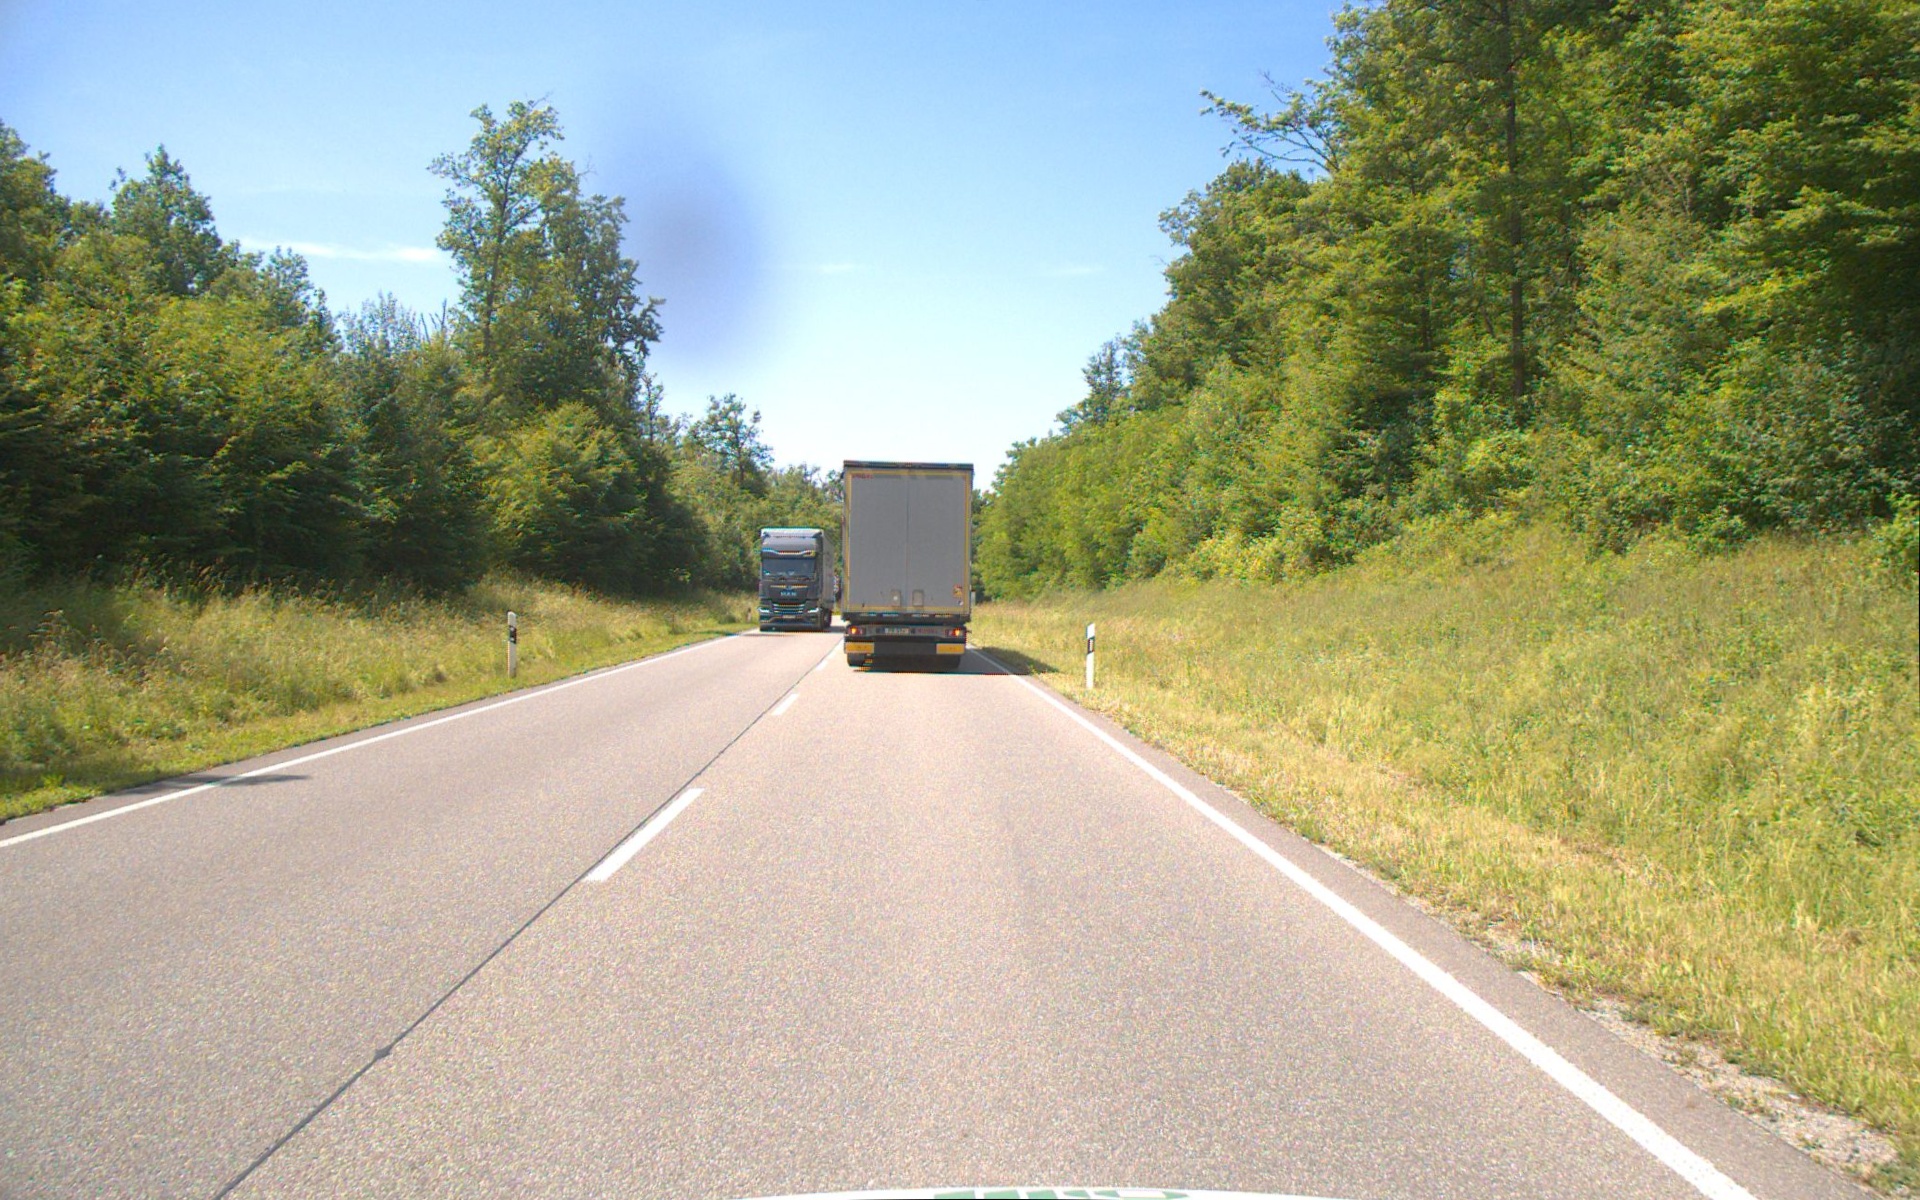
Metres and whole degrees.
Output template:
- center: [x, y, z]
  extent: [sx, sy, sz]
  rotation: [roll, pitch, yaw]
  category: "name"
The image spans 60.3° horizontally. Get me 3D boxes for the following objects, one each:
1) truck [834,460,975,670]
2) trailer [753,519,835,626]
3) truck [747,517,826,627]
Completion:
- center: [-1.283, -0.728, 37.792]
  extent: [2.706, 4.016, 12.192]
  rotation: [0, 0, -2]
  category: "truck"
- center: [-7.291, -1.175, 74.391]
  extent: [2.883, 4.327, 13.613]
  rotation: [-1, 0, -3]
  category: "trailer"
- center: [-6.984, -1.124, 67.294]
  extent: [2.864, 4.289, 5.340]
  rotation: [0, 0, -3]
  category: "truck"
